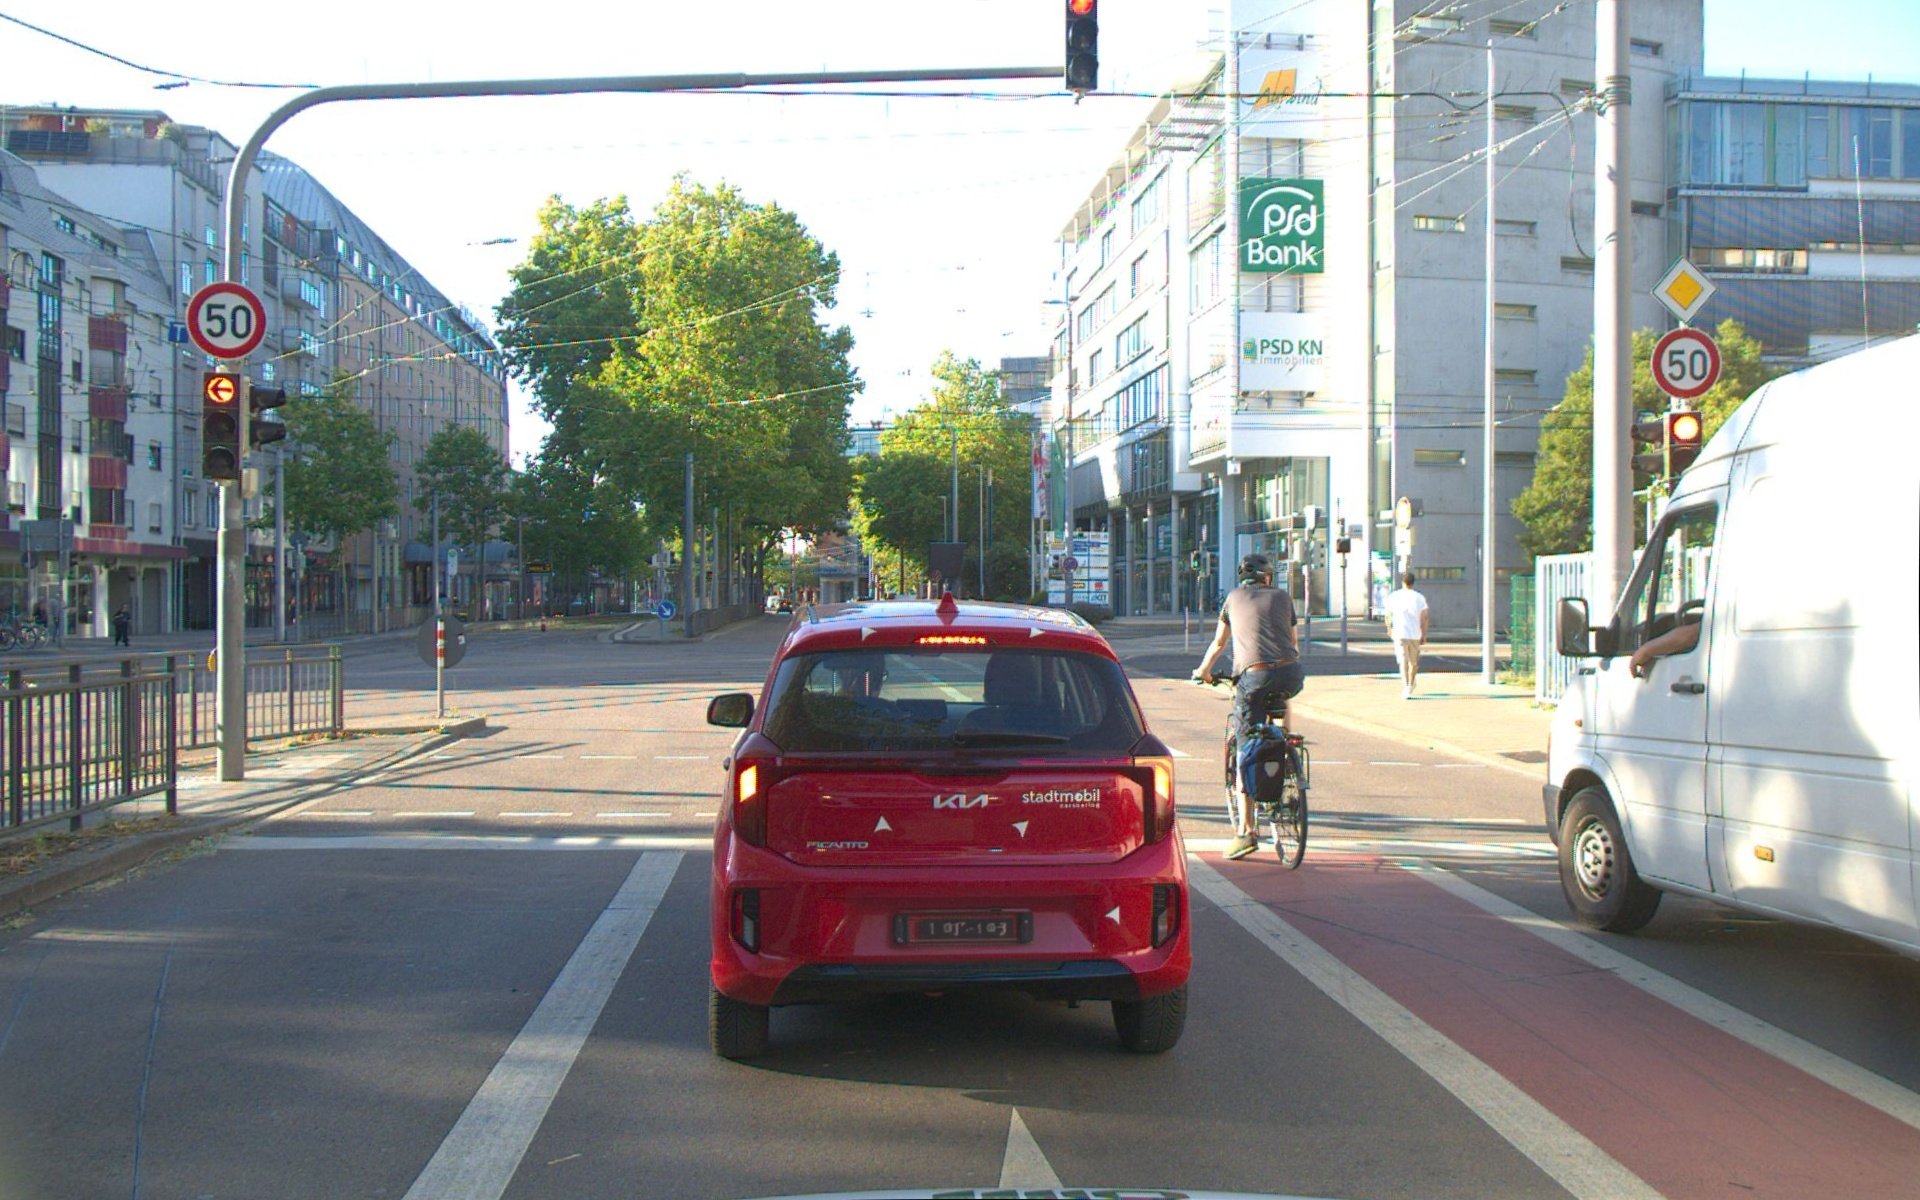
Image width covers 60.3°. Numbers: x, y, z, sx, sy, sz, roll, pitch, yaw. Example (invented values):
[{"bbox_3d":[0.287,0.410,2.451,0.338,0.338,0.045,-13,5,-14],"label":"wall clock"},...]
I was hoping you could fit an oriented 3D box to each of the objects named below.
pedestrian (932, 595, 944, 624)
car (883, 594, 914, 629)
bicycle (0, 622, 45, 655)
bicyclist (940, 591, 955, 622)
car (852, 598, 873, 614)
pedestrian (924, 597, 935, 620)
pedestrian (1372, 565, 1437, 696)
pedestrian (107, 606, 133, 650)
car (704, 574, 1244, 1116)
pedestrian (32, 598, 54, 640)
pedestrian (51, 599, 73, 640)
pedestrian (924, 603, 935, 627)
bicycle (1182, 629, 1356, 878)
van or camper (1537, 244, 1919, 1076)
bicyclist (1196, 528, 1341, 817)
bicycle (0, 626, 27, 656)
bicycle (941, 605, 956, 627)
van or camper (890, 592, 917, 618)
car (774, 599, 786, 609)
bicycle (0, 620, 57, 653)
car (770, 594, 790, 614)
[{"bbox_3d":[-1.292,0.538,97.452,0.633,1.710,0.651,0,0,0],"label":"pedestrian"},{"bbox_3d":[-3.339,0.619,90.015,1.603,1.831,3.327,-1,0,-3],"label":"car"},{"bbox_3d":[-29.605,1.209,51.544,1.808,1.002,0.552,0,0,-8],"label":"bicycle"},{"bbox_3d":[-0.676,0.355,91.675,0.707,1.631,1.088,-3,0,-3],"label":"bicyclist"},{"bbox_3d":[-9.948,0.624,168.411,1.745,1.561,3.504,0,0,-10],"label":"car"},{"bbox_3d":[-2.384,0.626,128.480,0.873,1.783,0.841,0,0,-1],"label":"pedestrian"},{"bbox_3d":[6.461,0.431,24.099,0.761,1.855,1.217,0,0,9],"label":"pedestrian"},{"bbox_3d":[-30.334,0.995,59.719,0.687,1.571,1.035,0,0,-36],"label":"pedestrian"},{"bbox_3d":[-0.100,0.707,6.546,1.582,1.561,3.408,0,0,-5],"label":"car"},{"bbox_3d":[-33.882,0.704,61.121,0.524,1.520,0.586,0,0,-9],"label":"pedestrian"},{"bbox_3d":[-33.252,0.715,61.261,0.524,1.520,0.586,0,0,-9],"label":"pedestrian"},{"bbox_3d":[-2.126,1.043,115.378,0.629,1.607,0.723,-4,0,-1],"label":"pedestrian"},{"bbox_3d":[1.805,0.847,9.932,0.637,1.303,1.965,0,0,-1],"label":"bicycle"},{"bbox_3d":[4.160,0.205,5.481,1.930,2.763,6.300,1,0,-4],"label":"van or camper"},{"bbox_3d":[1.824,0.406,9.909,0.637,1.631,1.088,0,0,-1],"label":"bicyclist"},{"bbox_3d":[-29.456,1.249,50.280,1.806,0.869,0.553,0,0,-4],"label":"bicycle"},{"bbox_3d":[-0.648,0.876,91.663,0.682,1.117,1.749,-4,1,-4],"label":"bicycle"},{"bbox_3d":[-4.550,0.378,132.217,1.954,2.024,4.740,0,0,-4],"label":"van or camper"},{"bbox_3d":[-27.795,0.644,255.399,1.745,1.561,3.403,0,0,-10],"label":"car"},{"bbox_3d":[-29.548,1.140,52.161,1.808,1.002,0.552,0,0,-8],"label":"bicycle"},{"bbox_3d":[-19.080,0.428,175.154,1.956,2.049,3.992,0,0,-8],"label":"car"}]
